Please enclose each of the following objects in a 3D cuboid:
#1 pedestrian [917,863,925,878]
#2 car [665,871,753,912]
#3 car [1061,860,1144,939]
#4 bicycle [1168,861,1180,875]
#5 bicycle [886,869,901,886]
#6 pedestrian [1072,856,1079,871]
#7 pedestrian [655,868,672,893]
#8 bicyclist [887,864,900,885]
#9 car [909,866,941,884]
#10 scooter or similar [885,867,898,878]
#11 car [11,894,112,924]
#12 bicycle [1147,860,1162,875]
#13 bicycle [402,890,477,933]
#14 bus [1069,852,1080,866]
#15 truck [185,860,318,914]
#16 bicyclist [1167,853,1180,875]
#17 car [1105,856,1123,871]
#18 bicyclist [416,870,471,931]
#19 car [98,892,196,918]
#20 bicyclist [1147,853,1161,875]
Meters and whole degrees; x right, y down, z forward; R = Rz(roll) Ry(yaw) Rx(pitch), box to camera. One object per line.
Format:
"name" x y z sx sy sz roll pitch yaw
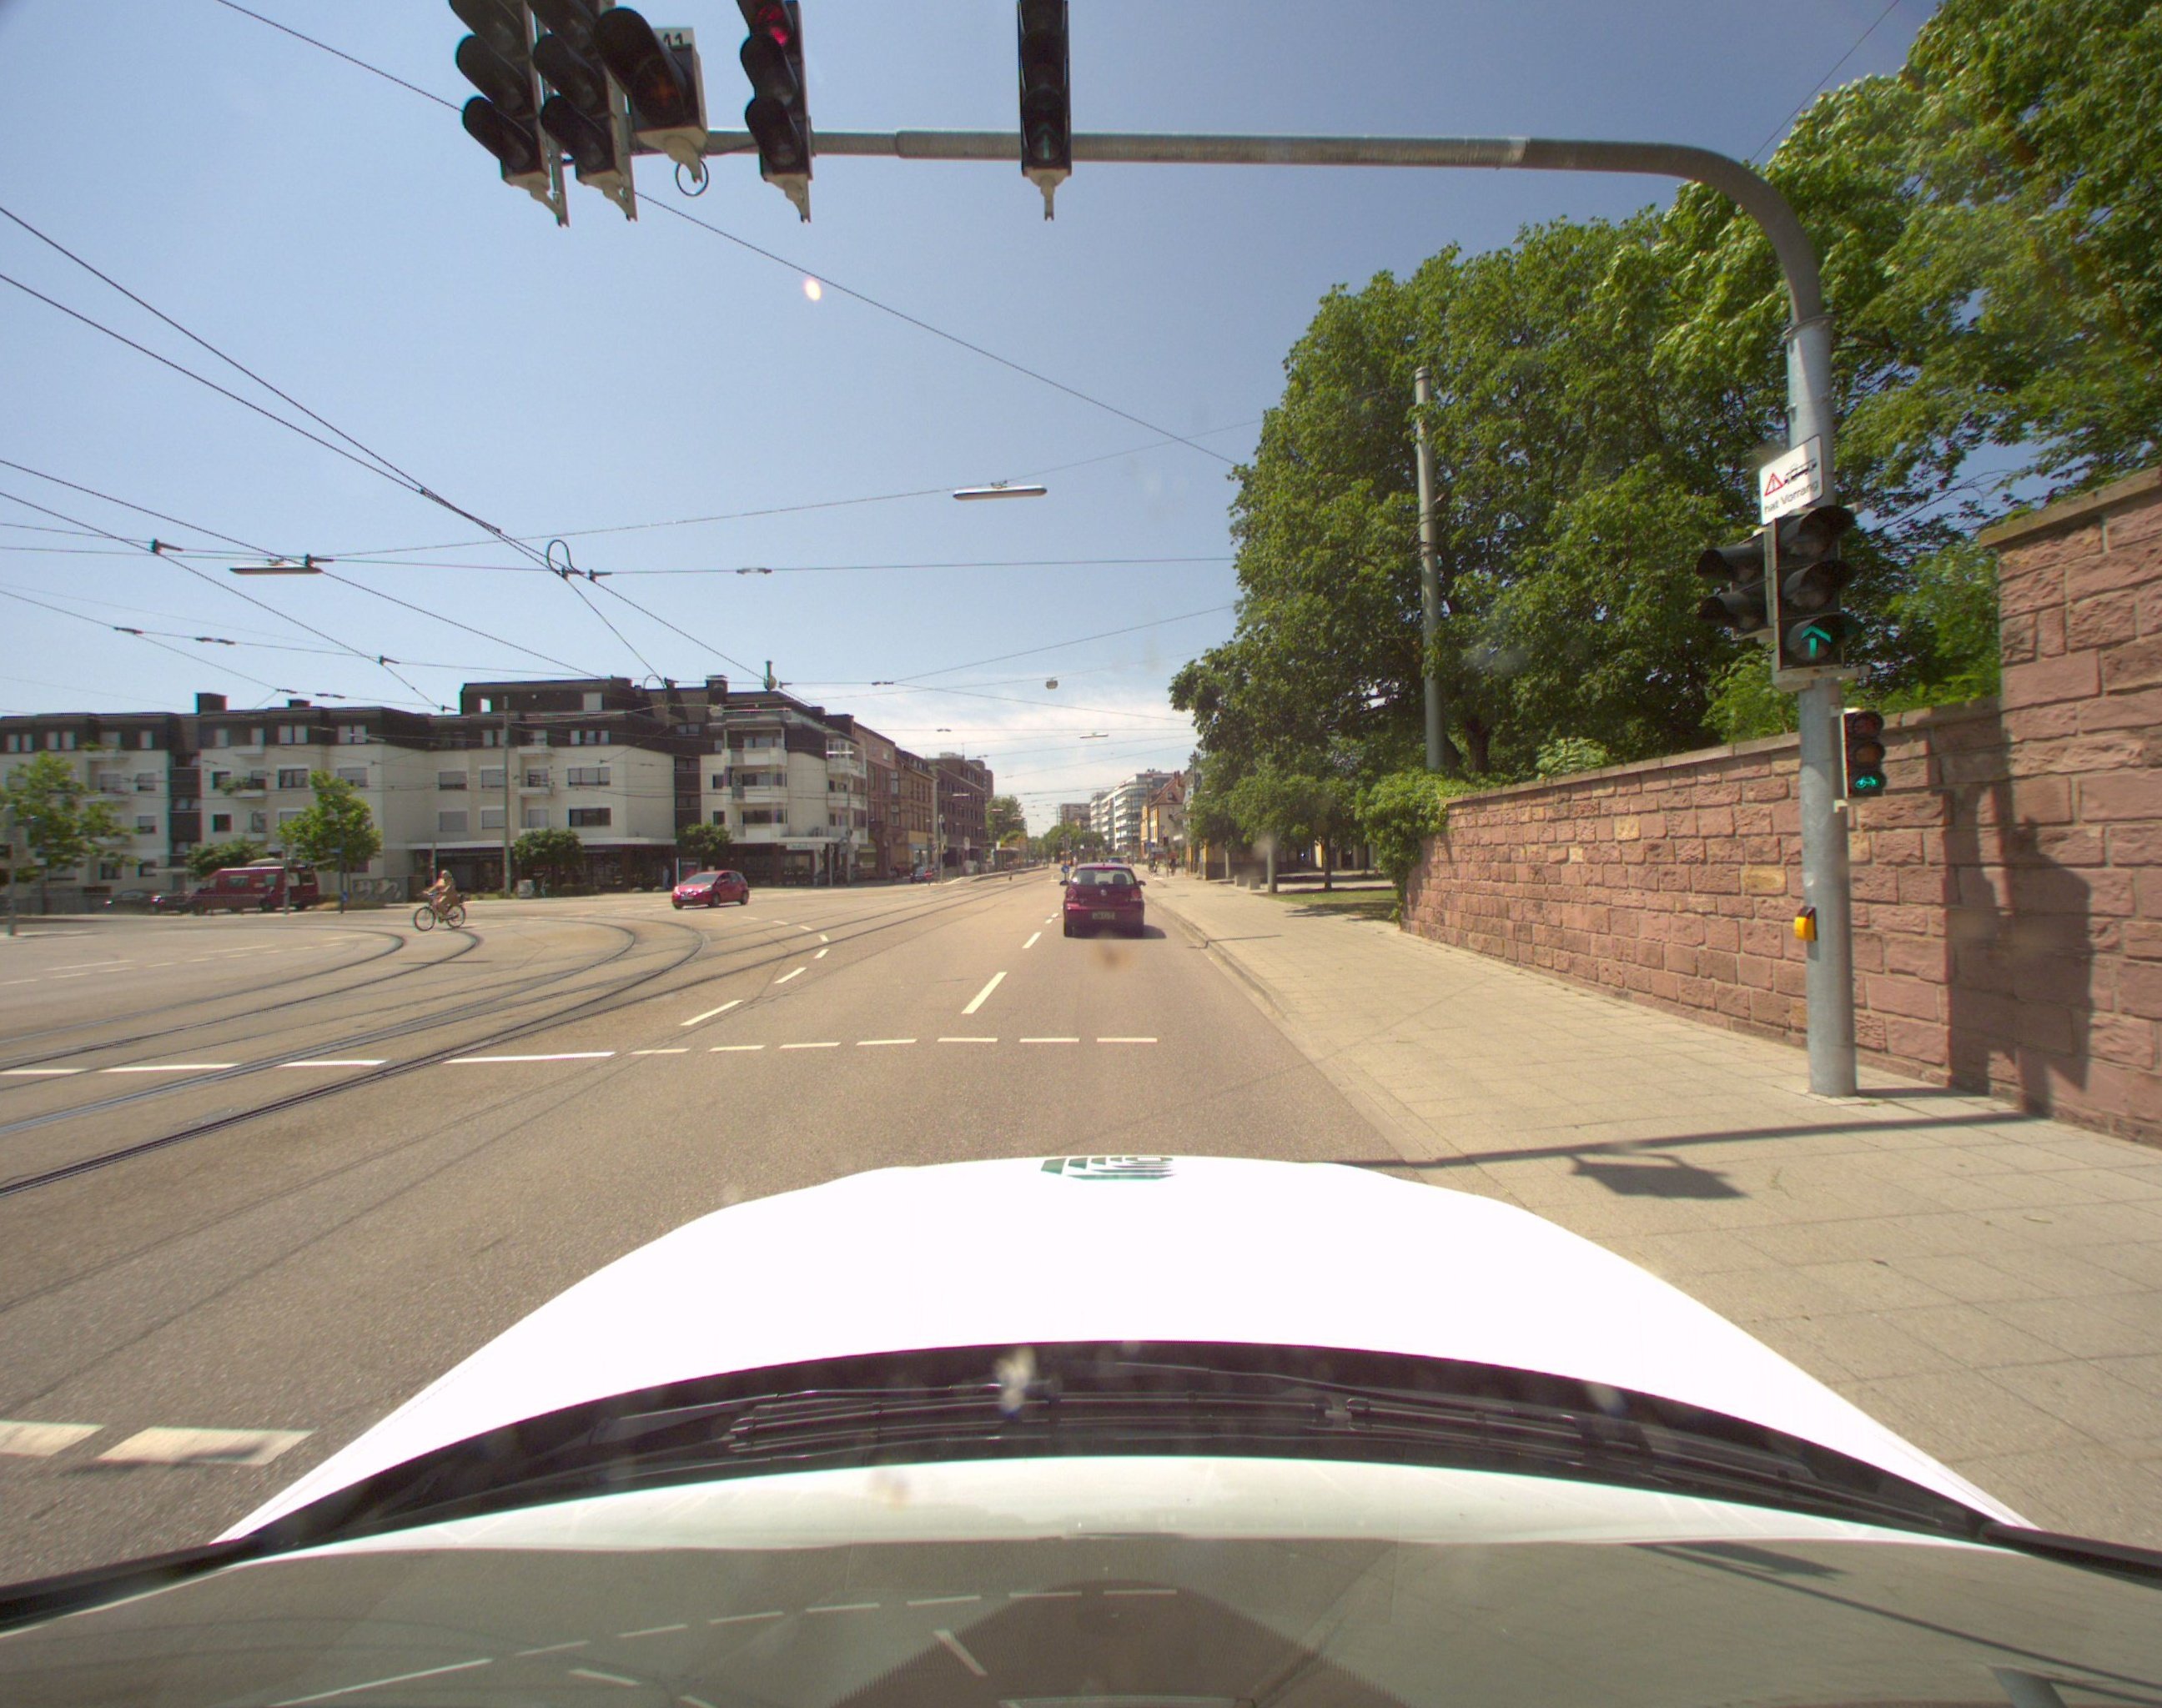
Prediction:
"pedestrian" -17.149 1.782 87.398 0.612 1.560 0.640 -2 0 1
"car" -15.317 1.521 33.739 1.617 1.484 3.833 -2 0 4
"car" 0.459 0.888 17.123 1.555 1.453 3.062 -2 0 1
"bicycle" 7.455 1.099 65.428 0.666 1.002 1.864 -5 1 2
"bicycle" -15.785 1.962 68.612 0.674 1.304 2.105 -2 0 1
"pedestrian" -0.605 1.062 91.128 0.760 1.674 1.101 -2 -1 3
"pedestrian" -29.230 1.829 56.985 0.696 1.696 0.809 -2 -1 4
"bicyclist" -15.810 1.722 68.721 0.730 1.762 1.135 -2 0 1
"car" -13.184 1.762 68.839 1.702 1.438 3.869 -2 0 3
"scooter or similar" -19.153 1.851 82.158 0.484 1.082 1.584 -2 0 19
"car" -55.731 3.004 44.558 3.555 1.433 1.591 -2 0 2
"bicycle" 6.093 1.133 67.766 0.372 1.197 1.917 -2 0 31
"bicycle" -19.548 1.734 24.880 0.692 1.149 1.932 -2 0 1
"bus" -1.417 1.067 175.828 2.138 3.003 6.573 -2 0 0
"truck" -45.080 1.754 44.342 5.006 2.698 2.188 -2 0 2
"bicyclist" 7.457 0.793 65.470 0.829 1.618 0.860 -5 1 1
"car" 3.924 1.125 97.224 1.986 1.624 4.633 -2 0 2
"bicyclist" -19.537 1.411 24.981 0.692 1.765 1.138 -2 0 1
"car" -50.942 2.791 44.455 3.555 1.219 1.591 -2 0 2
"bicyclist" 6.068 0.843 67.818 0.720 1.760 0.930 -2 0 31
